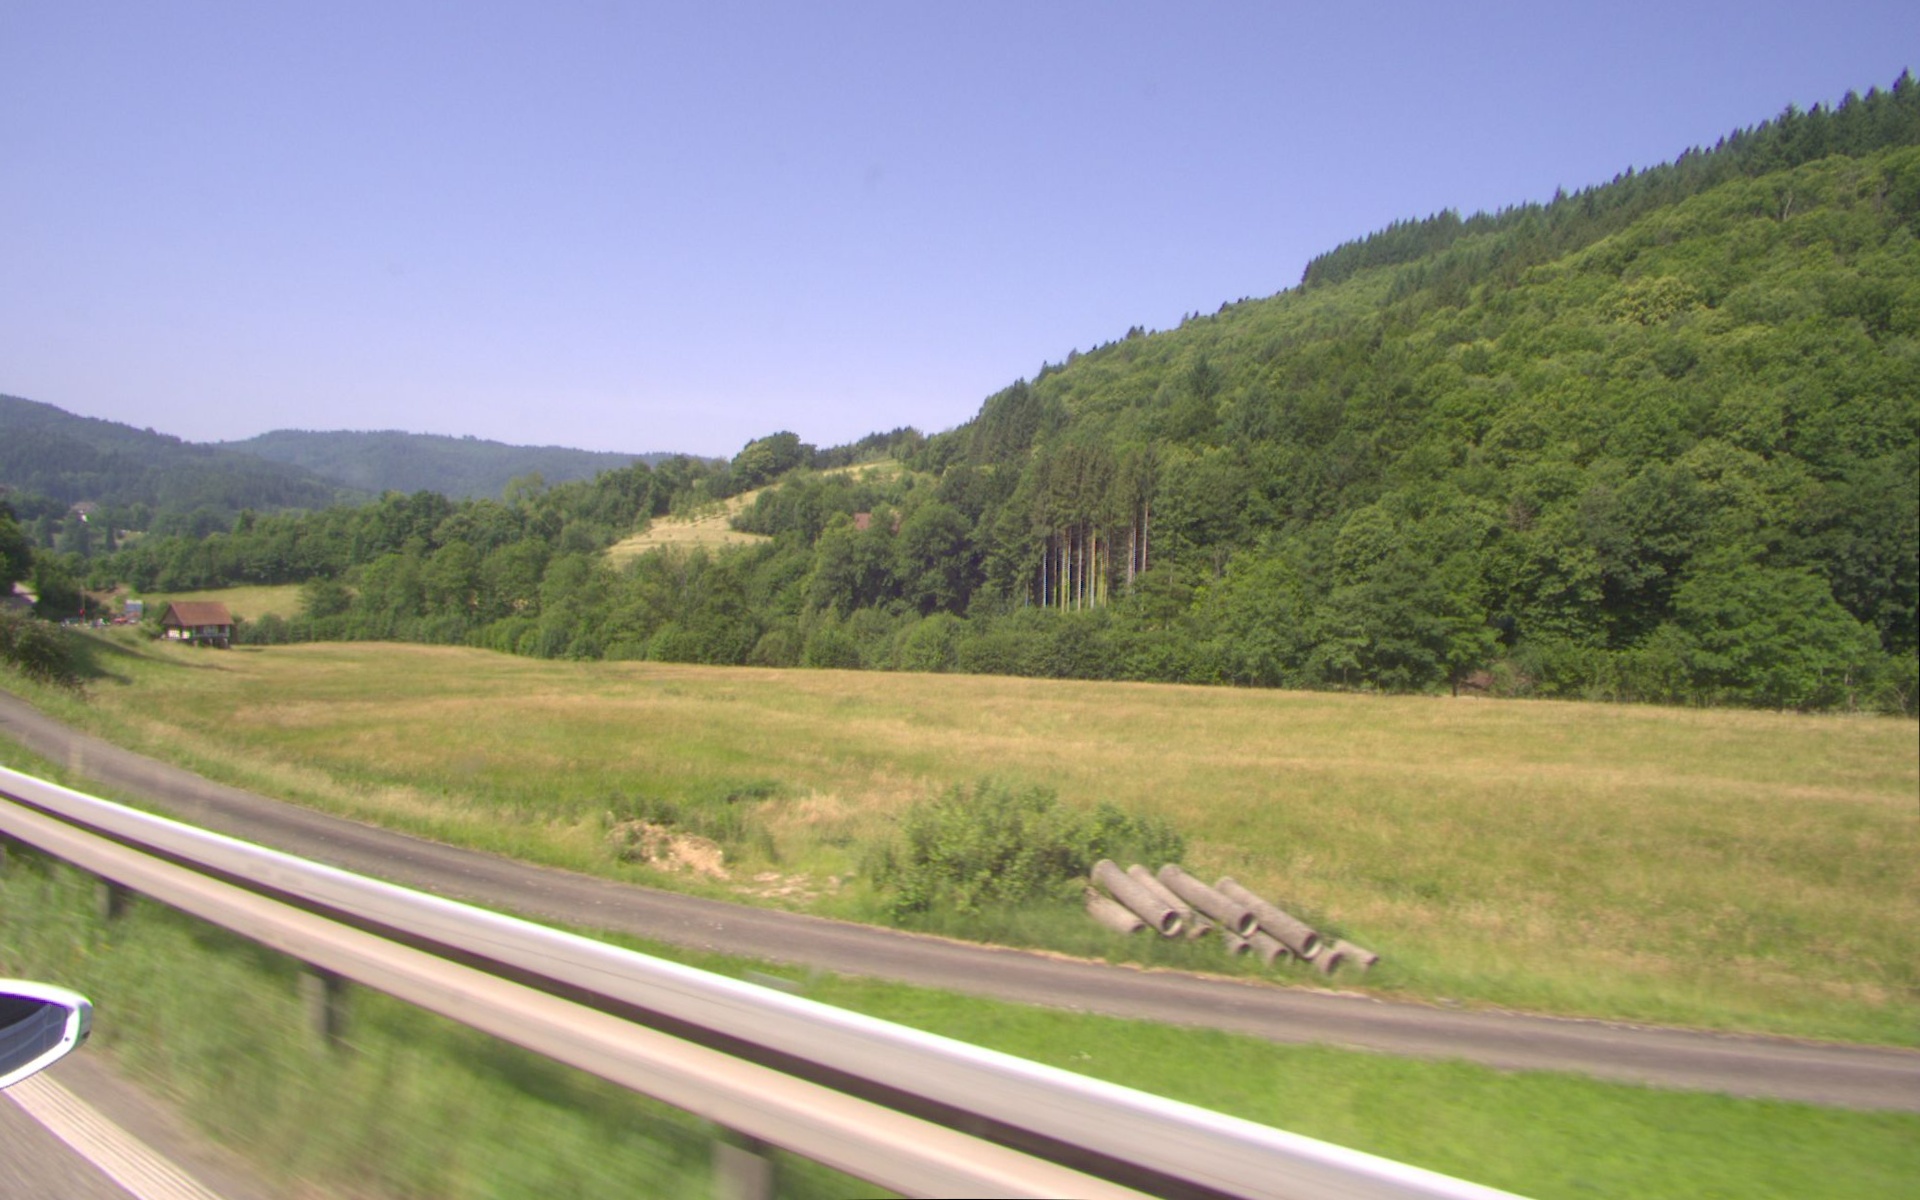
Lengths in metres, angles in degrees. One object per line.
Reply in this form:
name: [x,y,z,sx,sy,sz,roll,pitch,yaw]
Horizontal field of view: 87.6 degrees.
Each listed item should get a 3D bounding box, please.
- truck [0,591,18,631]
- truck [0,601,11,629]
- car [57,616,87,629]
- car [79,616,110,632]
truck: [-107.467,1.144,110.406,3.149,4.452,6.547,3,-2,-24]
truck: [-97.548,1.450,100.289,2.214,2.838,6.199,3,-4,-31]
car: [-107.757,2.704,121.548,1.886,1.504,3.980,4,-3,-29]
car: [-112.153,3.158,129.789,1.971,1.950,3.983,4,-3,-27]
